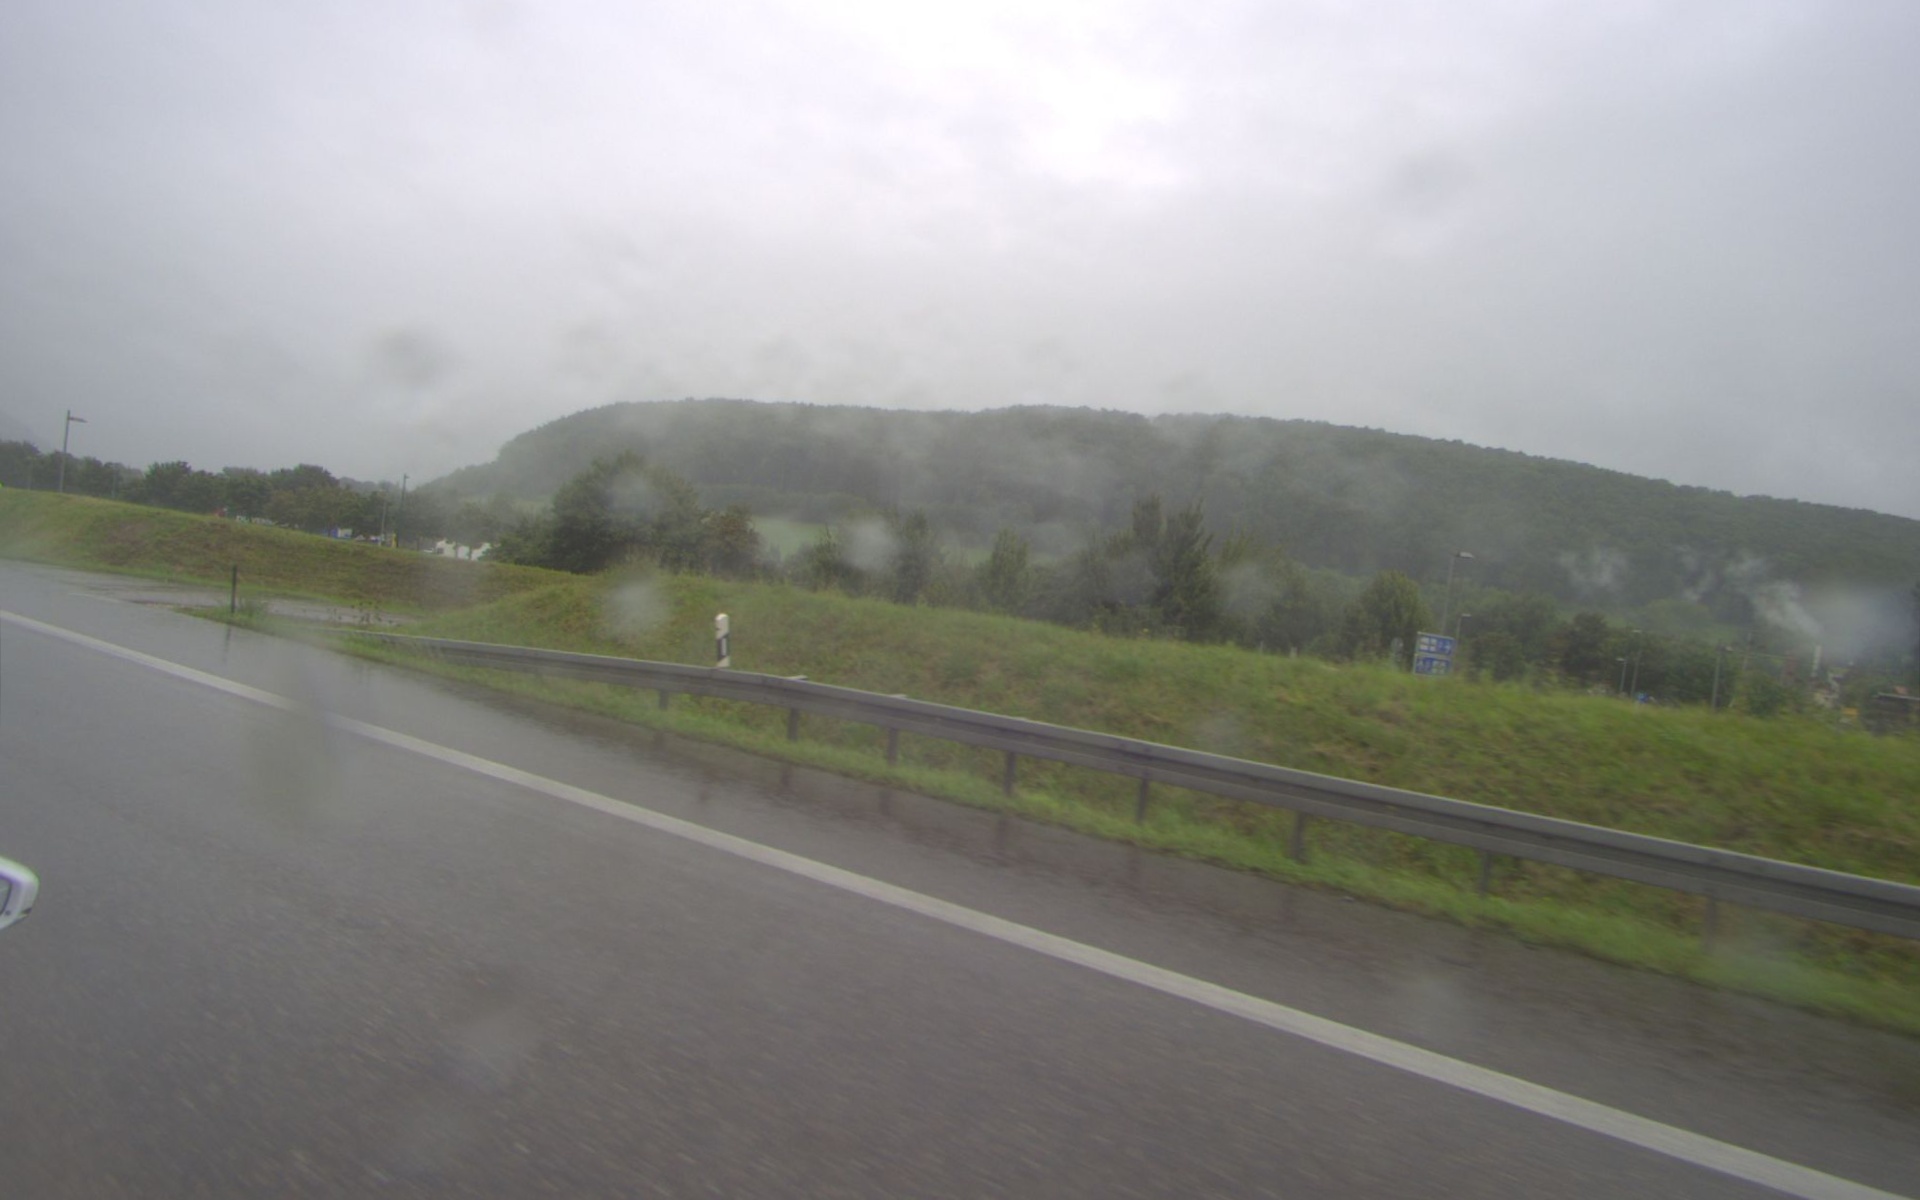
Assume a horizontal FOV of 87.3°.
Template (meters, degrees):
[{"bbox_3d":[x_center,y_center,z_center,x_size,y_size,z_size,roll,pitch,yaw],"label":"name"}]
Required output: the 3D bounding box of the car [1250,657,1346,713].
[{"bbox_3d":[19.727,4.917,59.138,2.373,2.611,6.718,8,-2,-7],"label":"car"}]

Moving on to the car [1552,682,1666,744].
[{"bbox_3d":[27.542,4.773,42.692,3.946,2.037,1.990,8,-1,-22],"label":"car"}]
